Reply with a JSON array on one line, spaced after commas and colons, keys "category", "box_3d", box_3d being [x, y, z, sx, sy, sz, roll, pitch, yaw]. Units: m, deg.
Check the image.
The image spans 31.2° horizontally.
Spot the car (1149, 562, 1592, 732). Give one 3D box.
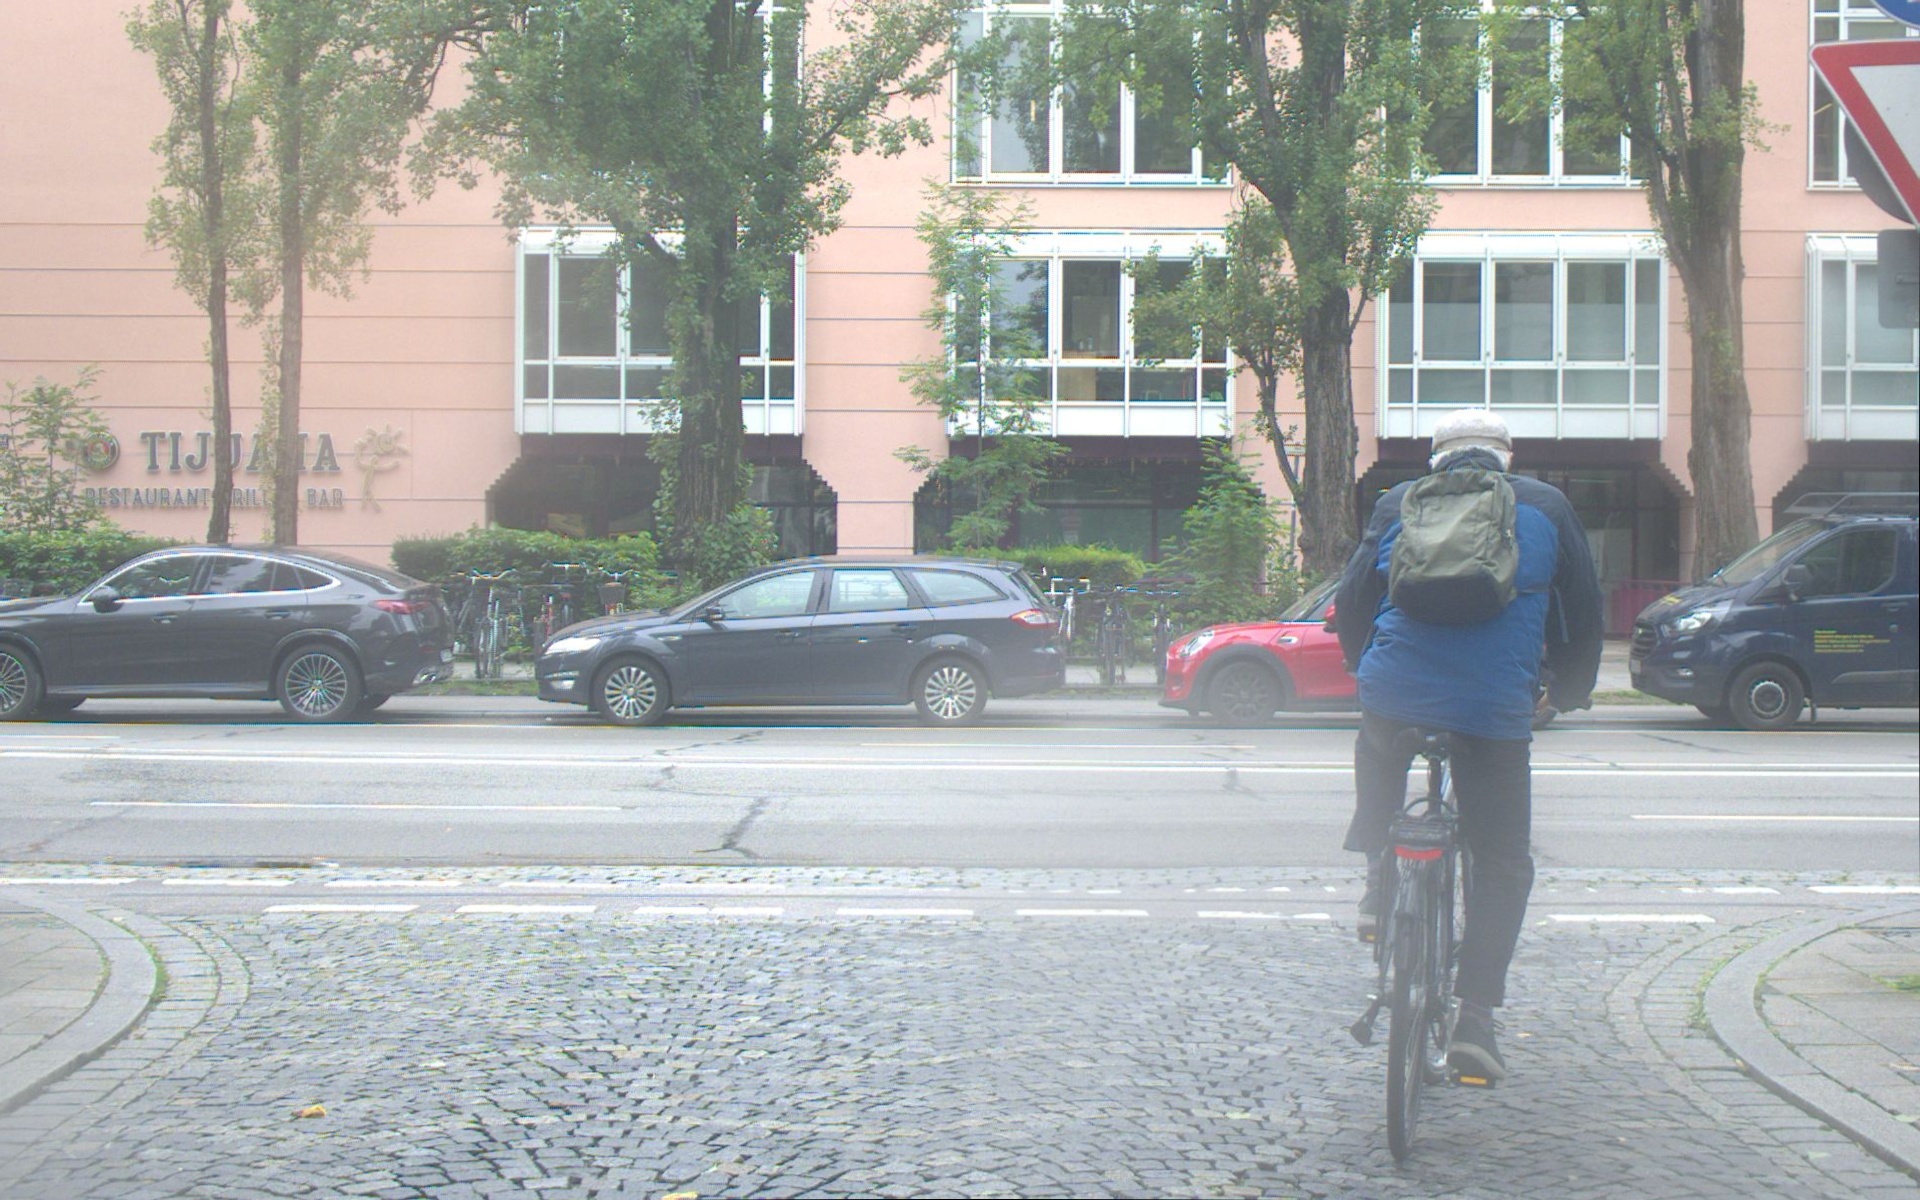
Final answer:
[{"category": "car", "box_3d": [3.649, 0.405, 31.095, 3.861, 1.444, 1.678, 1, 1, 3]}]

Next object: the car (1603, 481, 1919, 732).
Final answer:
[{"category": "car", "box_3d": [8.788, 0.057, 31.294, 5.479, 2.189, 2.024, 1, 1, 1]}]

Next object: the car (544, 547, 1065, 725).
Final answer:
[{"category": "car", "box_3d": [-1.369, 0.306, 31.368, 4.608, 1.523, 1.793, 1, 1, 1]}]

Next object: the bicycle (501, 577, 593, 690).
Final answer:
[{"category": "bicycle", "box_3d": [-4.280, 0.331, 35.723, 0.674, 1.120, 1.989, 0, 1, 1]}]

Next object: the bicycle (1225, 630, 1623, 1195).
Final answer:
[{"category": "bicycle", "box_3d": [1.154, 0.661, 8.188, 0.717, 1.144, 1.899, 1, 0, 14]}]

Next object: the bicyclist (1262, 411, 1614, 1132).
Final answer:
[{"category": "bicyclist", "box_3d": [1.148, 0.375, 8.161, 0.722, 1.614, 0.756, 1, 1, 15]}]

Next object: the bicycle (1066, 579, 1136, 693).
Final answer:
[{"category": "bicycle", "box_3d": [1.448, 0.358, 35.507, 0.674, 1.120, 1.742, 0, 1, 1]}]

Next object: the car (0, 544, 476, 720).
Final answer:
[{"category": "car", "box_3d": [-6.822, 0.269, 31.471, 4.500, 1.523, 1.793, 1, 1, 1]}]

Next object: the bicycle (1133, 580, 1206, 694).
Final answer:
[{"category": "bicycle", "box_3d": [2.155, 0.365, 35.499, 0.674, 1.120, 1.742, 0, 1, 1]}]
